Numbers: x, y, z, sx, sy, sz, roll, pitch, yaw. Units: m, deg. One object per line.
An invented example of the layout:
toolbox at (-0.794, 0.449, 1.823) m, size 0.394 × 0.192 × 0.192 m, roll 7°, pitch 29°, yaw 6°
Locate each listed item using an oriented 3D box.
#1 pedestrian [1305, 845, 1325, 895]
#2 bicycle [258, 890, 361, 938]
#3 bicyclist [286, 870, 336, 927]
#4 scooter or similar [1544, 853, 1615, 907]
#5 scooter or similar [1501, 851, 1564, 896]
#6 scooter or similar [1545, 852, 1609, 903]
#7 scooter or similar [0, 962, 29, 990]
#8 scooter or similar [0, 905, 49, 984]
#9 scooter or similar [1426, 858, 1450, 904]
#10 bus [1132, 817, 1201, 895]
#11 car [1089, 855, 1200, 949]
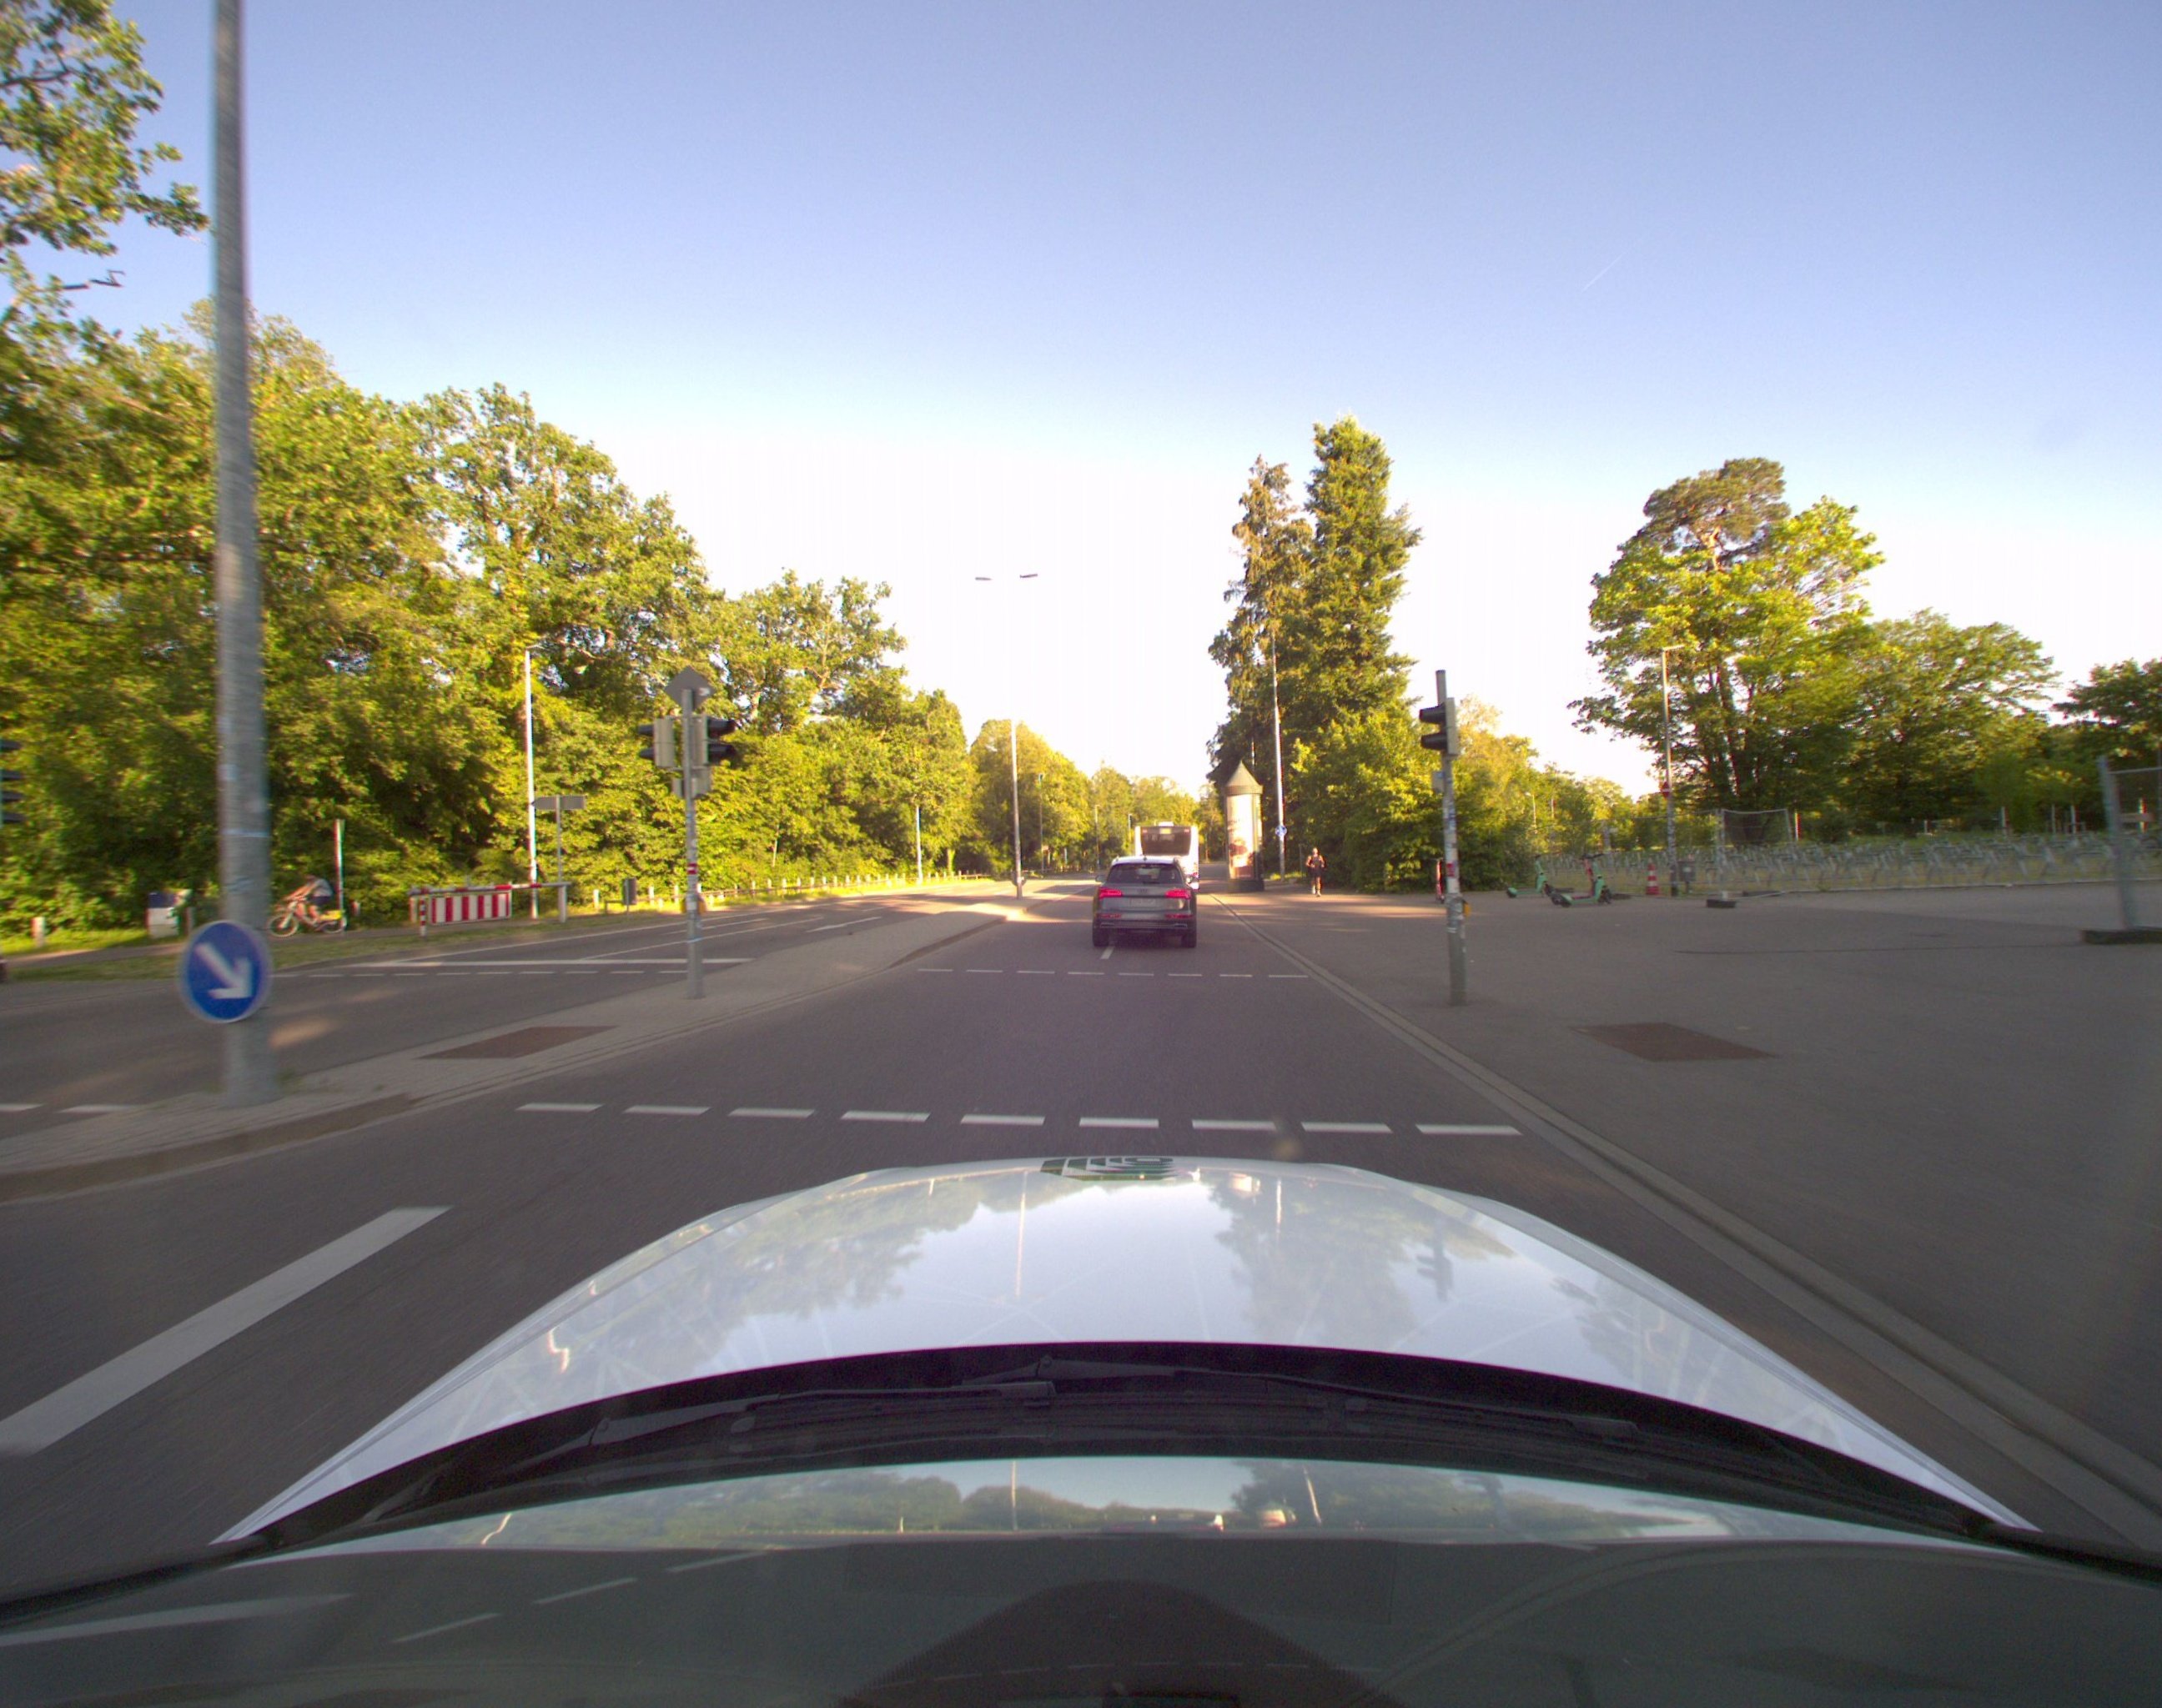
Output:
pedestrian at (8.121, 0.555, 28.263) m, size 0.621 × 1.688 × 0.886 m, roll -1°, pitch -1°, yaw 13°
bicycle at (-21.916, 1.683, 23.180) m, size 0.674 × 1.154 × 1.995 m, roll -1°, pitch 1°, yaw 22°
bicyclist at (-21.910, 1.245, 23.178) m, size 0.557 × 1.551 × 0.804 m, roll -1°, pitch 2°, yaw 21°
scooter or similar at (11.484, 0.597, 18.789) m, size 1.257 × 1.147 × 0.395 m, roll -4°, pitch -2°, yaw 11°
scooter or similar at (12.391, 0.551, 22.362) m, size 1.424 × 1.167 × 0.396 m, roll -4°, pitch -2°, yaw 33°
scooter or similar at (11.786, 0.569, 19.369) m, size 1.232 × 1.167 × 0.396 m, roll -3°, pitch -2°, yaw 29°
scooter or similar at (-15.611, 1.723, 10.962) m, size 1.398 × 0.339 × 1.264 m, roll -2°, pitch 0°, yaw 12°
scooter or similar at (-16.315, 1.365, 12.329) m, size 1.060 × 1.146 × 0.395 m, roll -2°, pitch 0°, yaw 11°
scooter or similar at (9.759, 0.724, 22.293) m, size 0.279 × 1.171 × 1.414 m, roll -3°, pitch 0°, yaw 13°
bus at (3.739, 0.133, 38.057) m, size 2.678 × 3.042 × 12.052 m, roll -1°, pitch 0°, yaw 4°
car at (1.226, 0.826, 16.169) m, size 1.885 × 1.605 × 4.548 m, roll 0°, pitch 0°, yaw 4°
